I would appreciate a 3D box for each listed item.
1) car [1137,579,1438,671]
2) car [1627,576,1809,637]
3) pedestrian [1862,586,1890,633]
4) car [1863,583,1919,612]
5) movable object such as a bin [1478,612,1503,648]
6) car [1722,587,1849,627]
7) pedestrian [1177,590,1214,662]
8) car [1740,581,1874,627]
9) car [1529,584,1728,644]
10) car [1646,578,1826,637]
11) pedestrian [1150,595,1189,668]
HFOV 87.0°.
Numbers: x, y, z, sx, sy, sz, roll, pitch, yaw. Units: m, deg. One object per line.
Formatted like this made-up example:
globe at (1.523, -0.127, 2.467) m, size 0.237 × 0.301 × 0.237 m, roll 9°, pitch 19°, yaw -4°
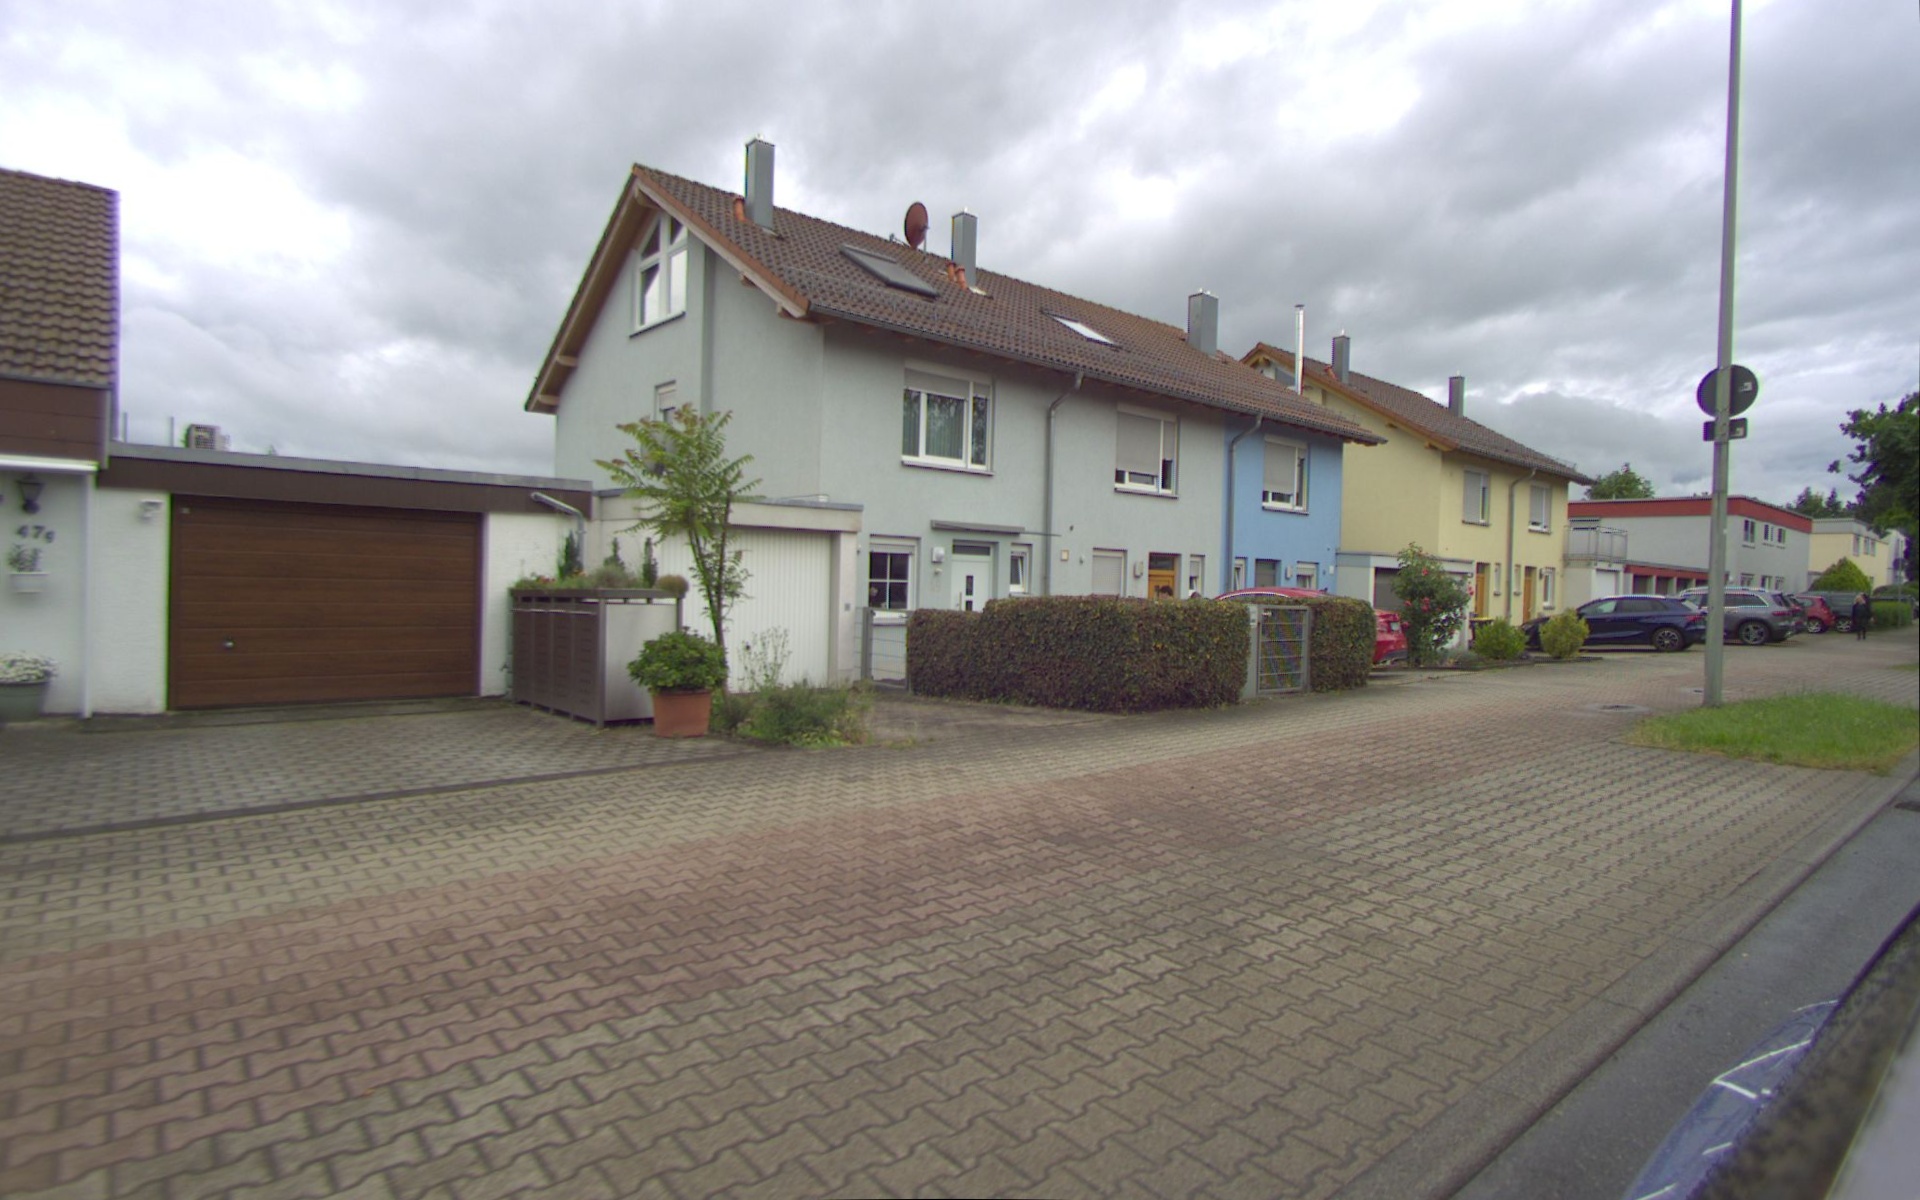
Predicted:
car at (5.113, 0.341, 16.086) m, size 4.291 × 1.276 × 1.657 m, roll 0°, pitch 0°, yaw 37°
car at (22.558, 0.194, 30.216) m, size 4.177 × 1.693 × 1.695 m, roll -1°, pitch -1°, yaw 43°
pedestrian at (31.396, 0.317, 34.699) m, size 0.664 × 1.577 × 0.829 m, roll 1°, pitch 1°, yaw 44°
car at (57.012, -0.111, 60.993) m, size 1.733 × 1.551 × 3.617 m, roll 0°, pitch 5°, yaw -43°
movable object such as a bin at (14.279, 0.807, 27.259) m, size 0.474 × 0.934 × 0.367 m, roll -2°, pitch 0°, yaw 7°
car at (32.698, 0.236, 40.151) m, size 1.678 × 1.459 × 3.698 m, roll -1°, pitch 2°, yaw -42°
pedestrian at (4.588, 0.493, 19.742) m, size 0.534 × 1.368 × 0.522 m, roll 1°, pitch 1°, yaw 36°
car at (34.765, 0.111, 41.624) m, size 1.891 × 1.742 × 3.993 m, roll -1°, pitch 2°, yaw -42°
car at (17.174, 0.410, 26.125) m, size 1.647 × 1.405 × 3.988 m, roll 1°, pitch -3°, yaw -44°
car at (24.601, 0.188, 32.194) m, size 1.956 × 1.692 × 4.189 m, roll 0°, pitch 2°, yaw -39°
pedestrian at (4.023, 0.602, 19.433) m, size 0.552 × 1.368 × 0.498 m, roll 0°, pitch 1°, yaw -18°
